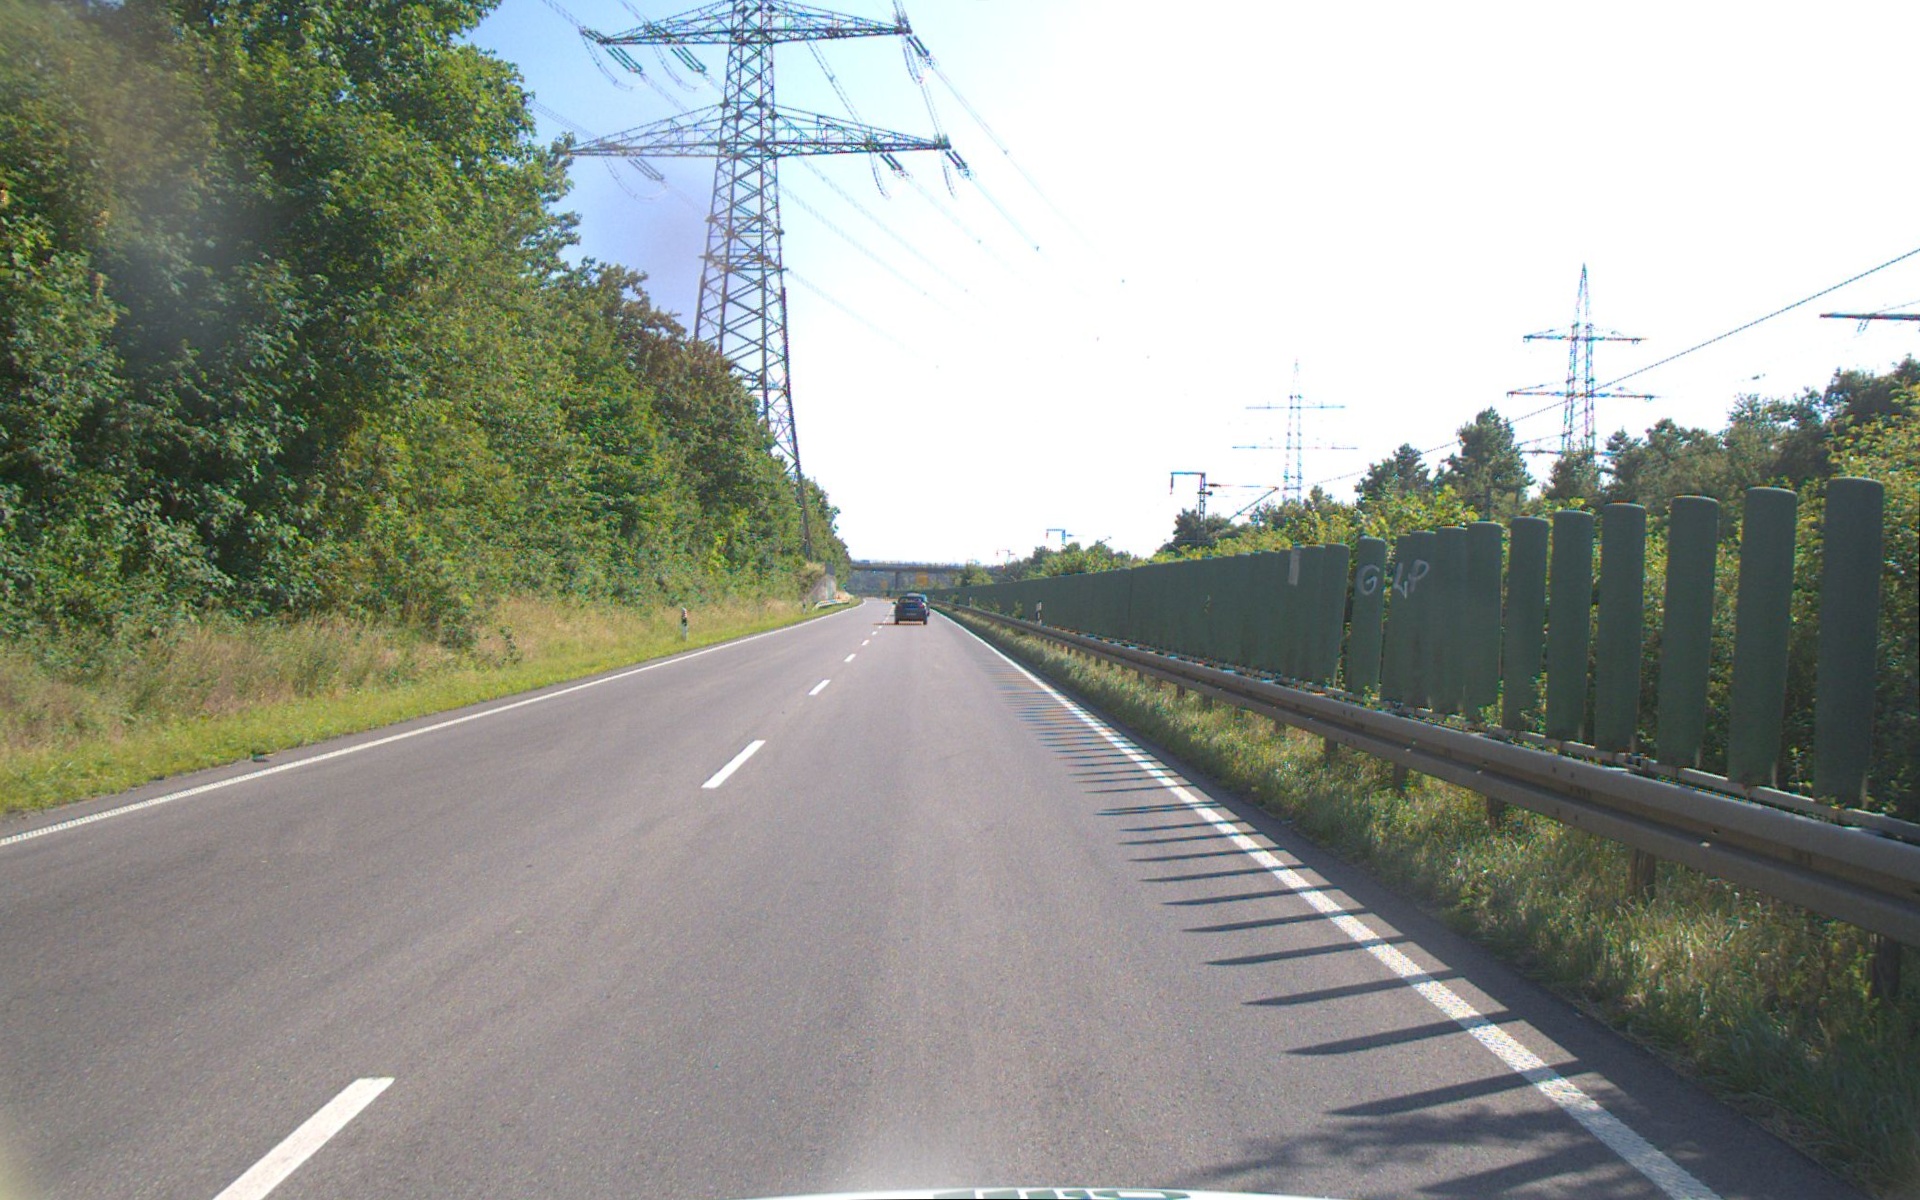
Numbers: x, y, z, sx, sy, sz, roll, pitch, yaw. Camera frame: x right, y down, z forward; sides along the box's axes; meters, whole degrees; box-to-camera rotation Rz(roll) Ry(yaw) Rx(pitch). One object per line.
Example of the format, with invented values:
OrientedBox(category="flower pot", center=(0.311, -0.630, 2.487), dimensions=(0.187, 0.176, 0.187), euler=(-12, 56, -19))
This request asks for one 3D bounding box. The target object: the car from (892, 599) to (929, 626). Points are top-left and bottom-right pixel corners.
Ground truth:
OrientedBox(category="car", center=(-2.482, 0.619, 81.854), dimensions=(1.631, 1.283, 3.996), euler=(1, 0, -5))
